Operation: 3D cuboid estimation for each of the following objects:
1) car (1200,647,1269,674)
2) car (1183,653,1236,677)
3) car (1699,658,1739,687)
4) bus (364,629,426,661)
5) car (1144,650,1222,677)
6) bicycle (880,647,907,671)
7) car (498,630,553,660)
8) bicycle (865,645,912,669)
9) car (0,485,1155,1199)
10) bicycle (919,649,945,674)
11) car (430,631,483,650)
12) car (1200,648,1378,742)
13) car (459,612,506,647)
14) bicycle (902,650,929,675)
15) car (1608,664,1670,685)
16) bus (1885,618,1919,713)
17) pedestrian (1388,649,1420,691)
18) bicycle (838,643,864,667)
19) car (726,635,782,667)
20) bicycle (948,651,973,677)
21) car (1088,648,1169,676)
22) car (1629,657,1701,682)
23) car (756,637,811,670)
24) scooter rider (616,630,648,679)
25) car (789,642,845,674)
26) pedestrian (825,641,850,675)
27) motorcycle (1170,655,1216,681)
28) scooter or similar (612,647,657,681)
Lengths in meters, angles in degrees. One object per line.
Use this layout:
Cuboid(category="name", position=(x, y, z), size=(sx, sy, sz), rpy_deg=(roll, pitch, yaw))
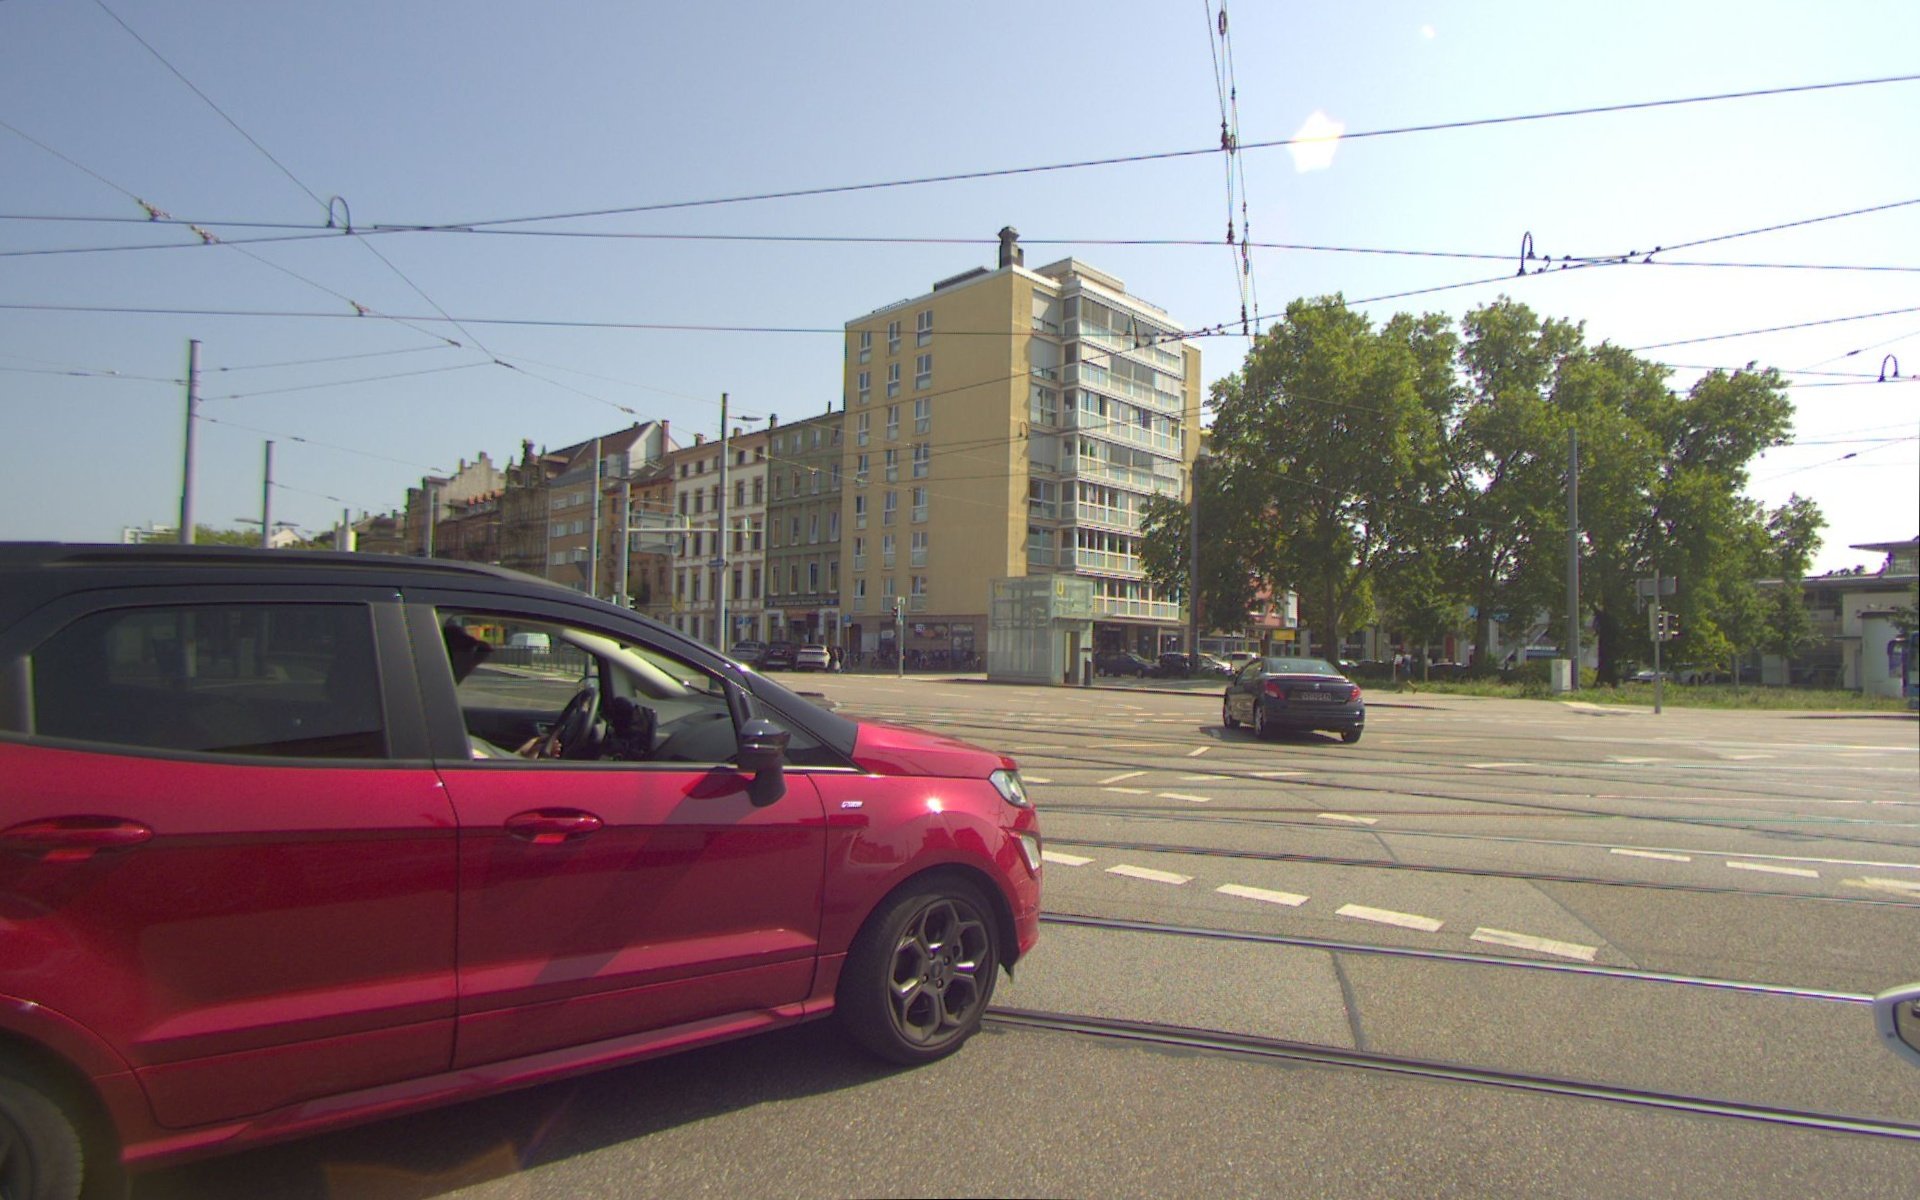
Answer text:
Cuboid(category="car", position=(18.018, 3.953, 65.954), size=(4.017, 1.688, 1.781), rpy_deg=(-2, -4, 43))
Cuboid(category="car", position=(15.972, 4.141, 64.322), size=(3.055, 1.447, 1.396), rpy_deg=(-2, -4, 43))
Cuboid(category="car", position=(59.024, 5.612, 78.073), size=(2.298, 2.040, 6.781), rpy_deg=(1, -2, 39))
Cuboid(category="bus", position=(-58.897, 4.680, 104.492), size=(2.526, 3.071, 12.273), rpy_deg=(4, -4, -44))
Cuboid(category="car", position=(13.336, 3.778, 60.256), size=(4.187, 1.489, 1.896), rpy_deg=(-2, -4, 43))
Cuboid(category="bicycle", position=(-3.975, 3.535, 60.580), size=(0.886, 1.423, 3.367), rpy_deg=(1, -3, 9))
Cuboid(category="car", position=(-27.220, 2.839, 62.919), size=(3.946, 1.803, 1.785), rpy_deg=(-3, -5, 44))
Cuboid(category="bicycle", position=(-4.459, 3.510, 62.259), size=(3.317, 1.423, 0.899), rpy_deg=(-1, -4, 43))
Cuboid(category="car", position=(-1.438, 0.680, 3.289), size=(4.040, 1.639, 1.752), rpy_deg=(3, -4, -34))
Cuboid(category="bicycle", position=(-1.619, 3.599, 58.920), size=(0.886, 1.423, 3.367), rpy_deg=(1, -3, 9))
Cuboid(category="car", position=(-41.683, 3.335, 83.111), size=(5.464, 1.305, 1.991), rpy_deg=(1, -2, 41))
Cuboid(category="car", position=(5.738, 1.610, 18.059), size=(1.761, 1.450, 4.000), rpy_deg=(1, -3, -2))
Cuboid(category="car", position=(-41.356, 2.554, 87.014), size=(2.288, 2.926, 5.533), rpy_deg=(2, -3, -40))
Cuboid(category="bicycle", position=(-2.597, 3.653, 59.313), size=(0.886, 1.423, 3.367), rpy_deg=(1, -3, 9))
Cuboid(category="car", position=(54.130, 5.913, 80.068), size=(3.933, 1.527, 1.995), rpy_deg=(2, -3, -15))
Cuboid(category="bus", position=(37.141, 2.310, 33.537), size=(11.868, 3.104, 2.729), rpy_deg=(2, -2, -11))
Cuboid(category="pedestrian", position=(17.314, 2.712, 39.167), size=(0.936, 1.630, 0.789), rpy_deg=(-2, -4, 42))
Cuboid(category="bicycle", position=(-5.990, 3.032, 55.273), size=(0.471, 1.313, 1.770), rpy_deg=(2, -4, -42))
Cuboid(category="car", position=(-12.018, 2.998, 58.990), size=(2.003, 1.736, 4.669), rpy_deg=(1, -3, 4))
Cuboid(category="bicycle", position=(0.049, 3.635, 57.659), size=(0.886, 1.423, 3.367), rpy_deg=(1, -3, 9))
Cuboid(category="car", position=(9.531, 3.509, 57.053), size=(4.187, 1.489, 1.896), rpy_deg=(-2, -4, 43))
Cuboid(category="car", position=(53.334, 5.245, 76.026), size=(4.174, 1.776, 1.717), rpy_deg=(1, -2, 5))
Cuboid(category="car", position=(-9.762, 2.974, 55.806), size=(1.947, 1.709, 4.396), rpy_deg=(1, -3, 4))
Cuboid(category="scooter rider", position=(-11.741, 1.942, 35.923), size=(0.768, 1.695, 0.770), rpy_deg=(-1, -3, 43))
Cuboid(category="car", position=(-7.553, 3.126, 53.488), size=(1.770, 1.519, 3.790), rpy_deg=(2, -4, 10))
Cuboid(category="pedestrian", position=(-6.435, 3.038, 52.848), size=(0.886, 1.726, 1.038), rpy_deg=(1, -4, 19))
Cuboid(category="motorcycle", position=(10.818, 3.172, 46.727), size=(0.902, 1.151, 2.094), rpy_deg=(3, -3, -32))
Cuboid(category="scooter or similar", position=(-11.651, 2.294, 36.004), size=(0.699, 1.163, 1.335), rpy_deg=(-1, -3, 43))
